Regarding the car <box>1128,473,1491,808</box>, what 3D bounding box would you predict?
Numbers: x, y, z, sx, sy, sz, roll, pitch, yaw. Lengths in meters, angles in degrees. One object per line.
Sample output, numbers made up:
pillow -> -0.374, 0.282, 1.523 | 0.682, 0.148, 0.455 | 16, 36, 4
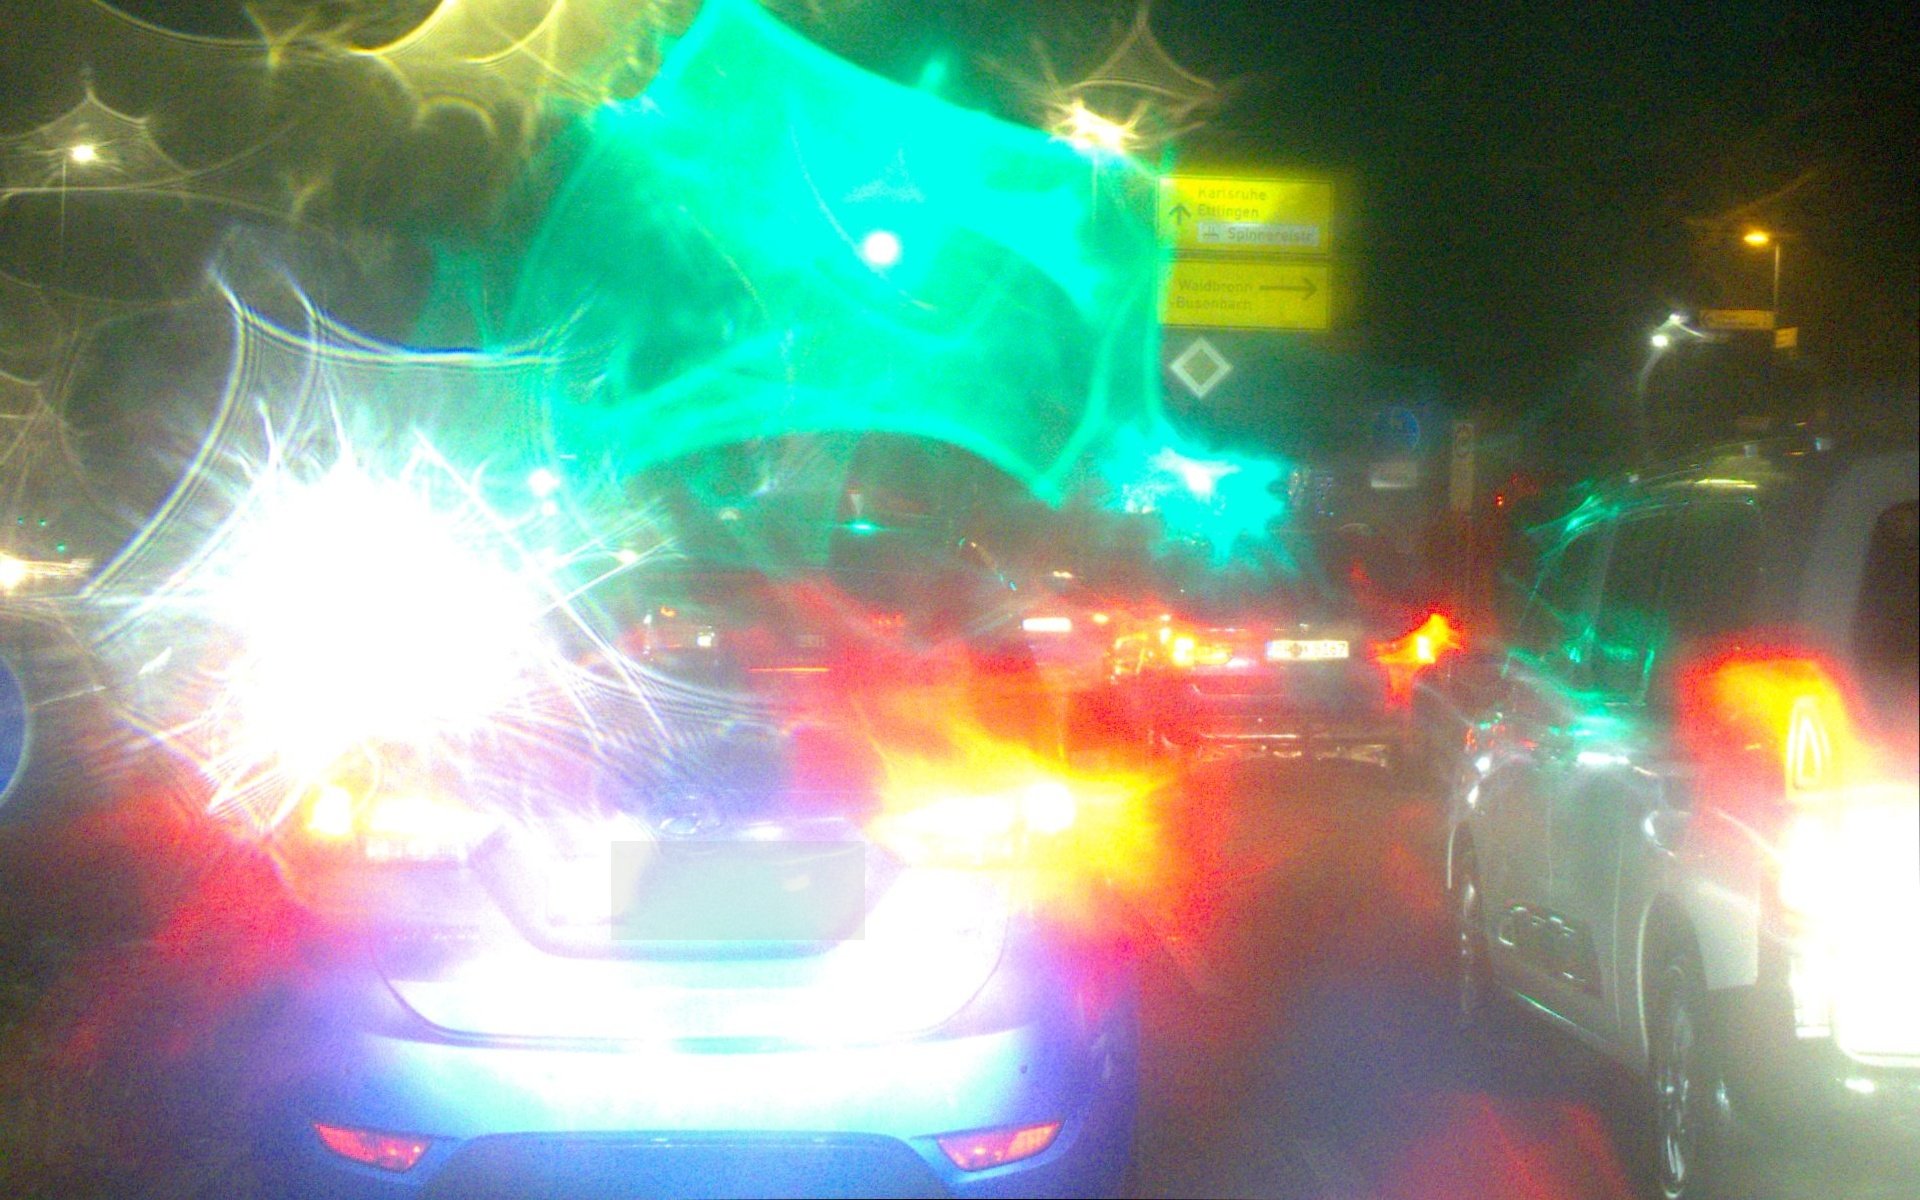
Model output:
car -> 2.267, 0.235, 23.318 | 1.968, 2.040, 4.000 | 1, 0, -1

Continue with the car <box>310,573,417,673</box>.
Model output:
car -> -12.736, 0.463, 73.177 | 2.014, 1.880, 4.453 | 2, 2, -12

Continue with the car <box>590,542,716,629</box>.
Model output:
car -> -6.741, -0.329, 75.138 | 1.993, 1.814, 4.001 | 1, 0, -16

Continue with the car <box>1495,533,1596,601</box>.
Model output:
car -> 14.959, -0.842, 88.025 | 1.865, 1.641, 3.963 | -2, 0, 0

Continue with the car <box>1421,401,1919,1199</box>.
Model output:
car -> 2.482, 0.530, 9.110 | 1.851, 1.858, 4.341 | 1, 0, -1

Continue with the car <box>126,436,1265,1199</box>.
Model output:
car -> -0.561, 0.566, 8.394 | 2.014, 1.711, 4.452 | 1, 0, -2

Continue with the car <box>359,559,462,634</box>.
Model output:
car -> -13.788, -0.106, 86.146 | 1.993, 1.818, 4.001 | 1, 0, -17

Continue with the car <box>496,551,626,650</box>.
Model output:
car -> -7.722, -0.014, 66.219 | 1.993, 1.818, 4.001 | 1, 0, -14

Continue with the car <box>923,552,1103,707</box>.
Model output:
car -> 0.572, 0.320, 40.757 | 1.993, 1.712, 4.000 | 1, 0, -1

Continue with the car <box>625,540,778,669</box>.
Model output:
car -> -3.709, 0.045, 48.763 | 1.993, 1.726, 4.001 | 1, 0, -6
